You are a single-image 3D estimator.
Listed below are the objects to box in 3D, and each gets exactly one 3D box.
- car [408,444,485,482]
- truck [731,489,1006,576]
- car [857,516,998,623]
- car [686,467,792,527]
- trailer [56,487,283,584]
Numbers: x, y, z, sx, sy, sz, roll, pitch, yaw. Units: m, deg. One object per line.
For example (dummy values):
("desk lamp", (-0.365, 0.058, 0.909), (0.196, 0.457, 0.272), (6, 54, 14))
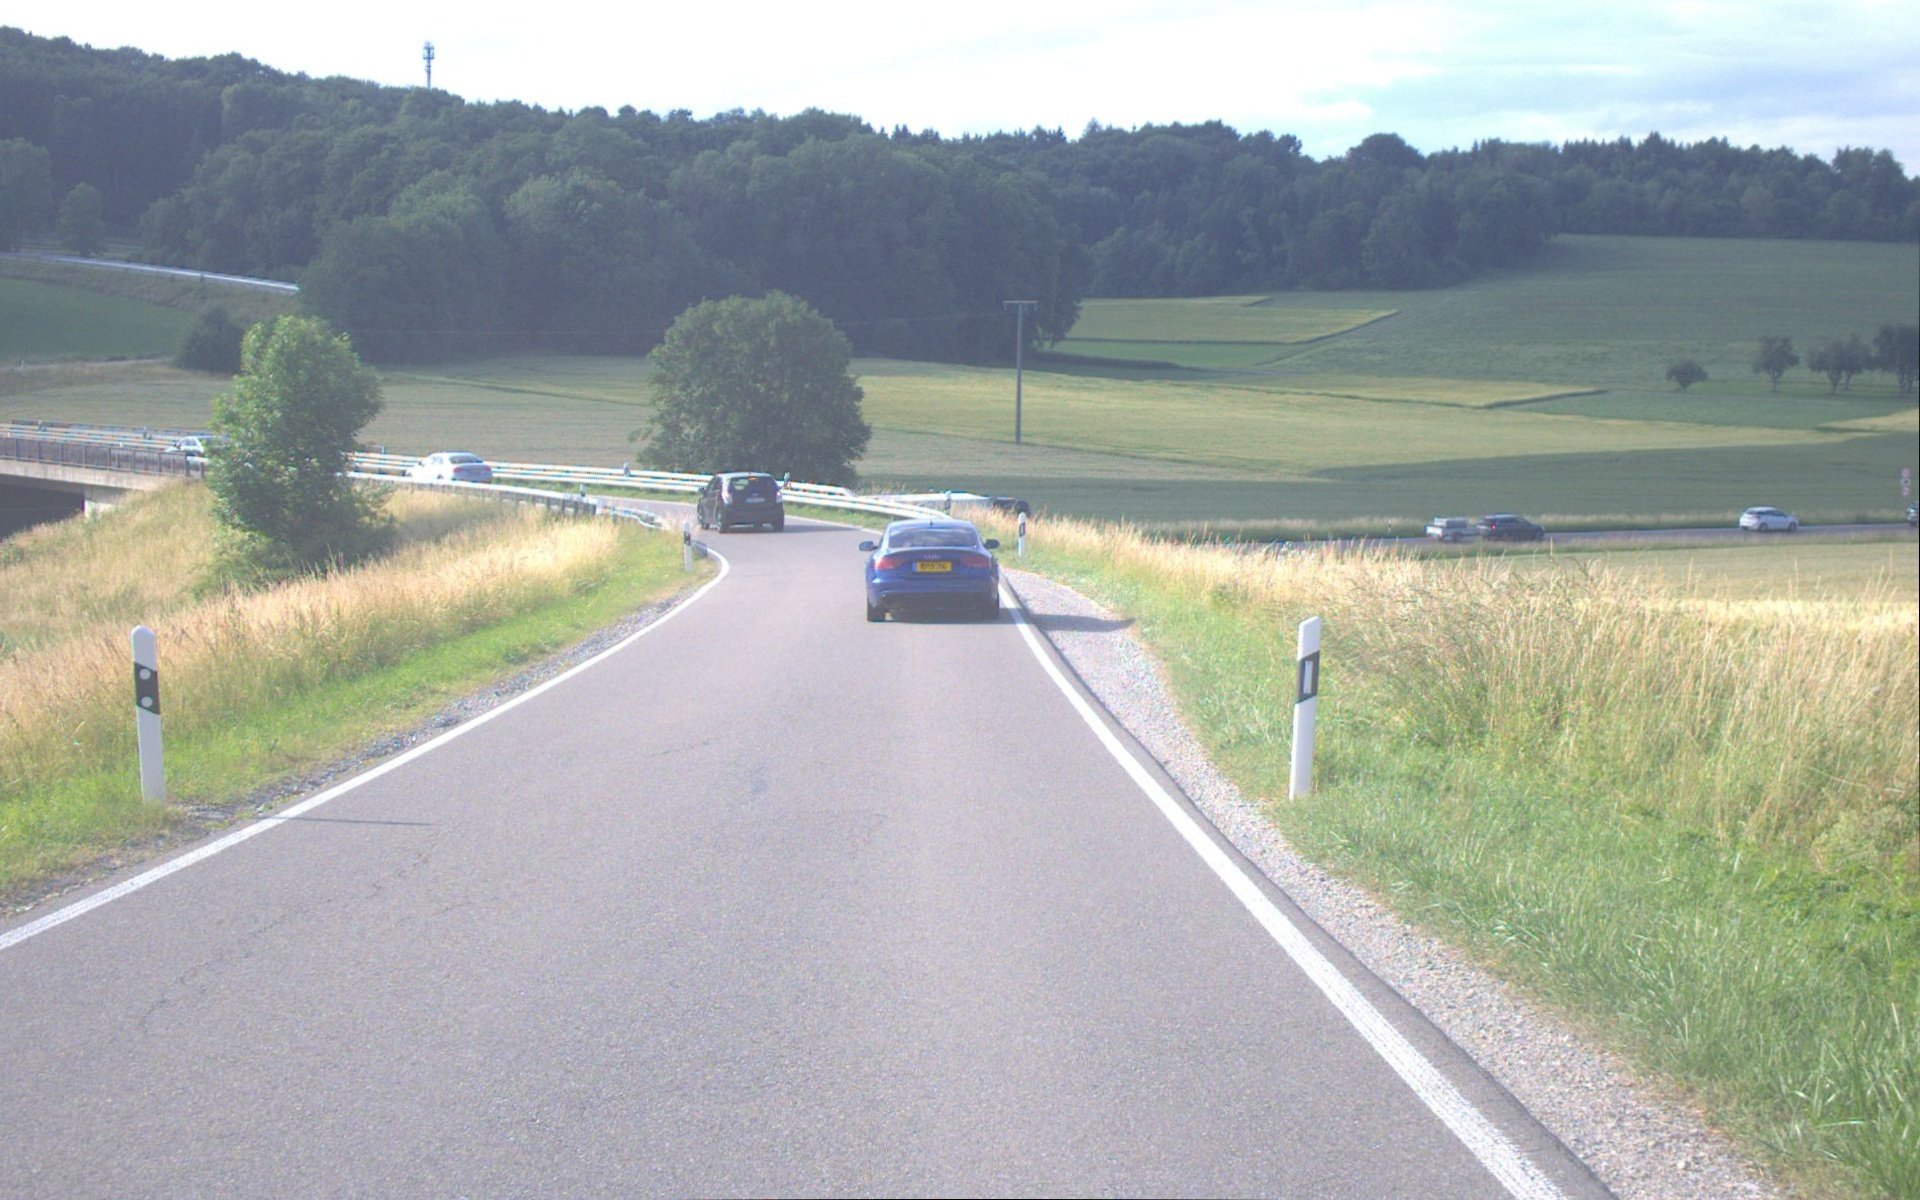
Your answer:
("car", (-18.949, -5.038, 126.759), (1.682, 1.371, 4.001), (-1, 2, -25))
("truck", (-4.566, -3.473, 175.810), (14.382, 3.982, 4.078), (-3, 2, -38))
("car", (-0.450, -0.442, 48.033), (1.818, 1.334, 4.350), (-3, 1, 0))
("car", (-6.109, -2.842, 94.720), (1.861, 1.563, 4.001), (-2, 2, -20))
("trailer", (-35.293, -2.929, 153.667), (9.103, 4.045, 3.836), (-3, 3, -41))
